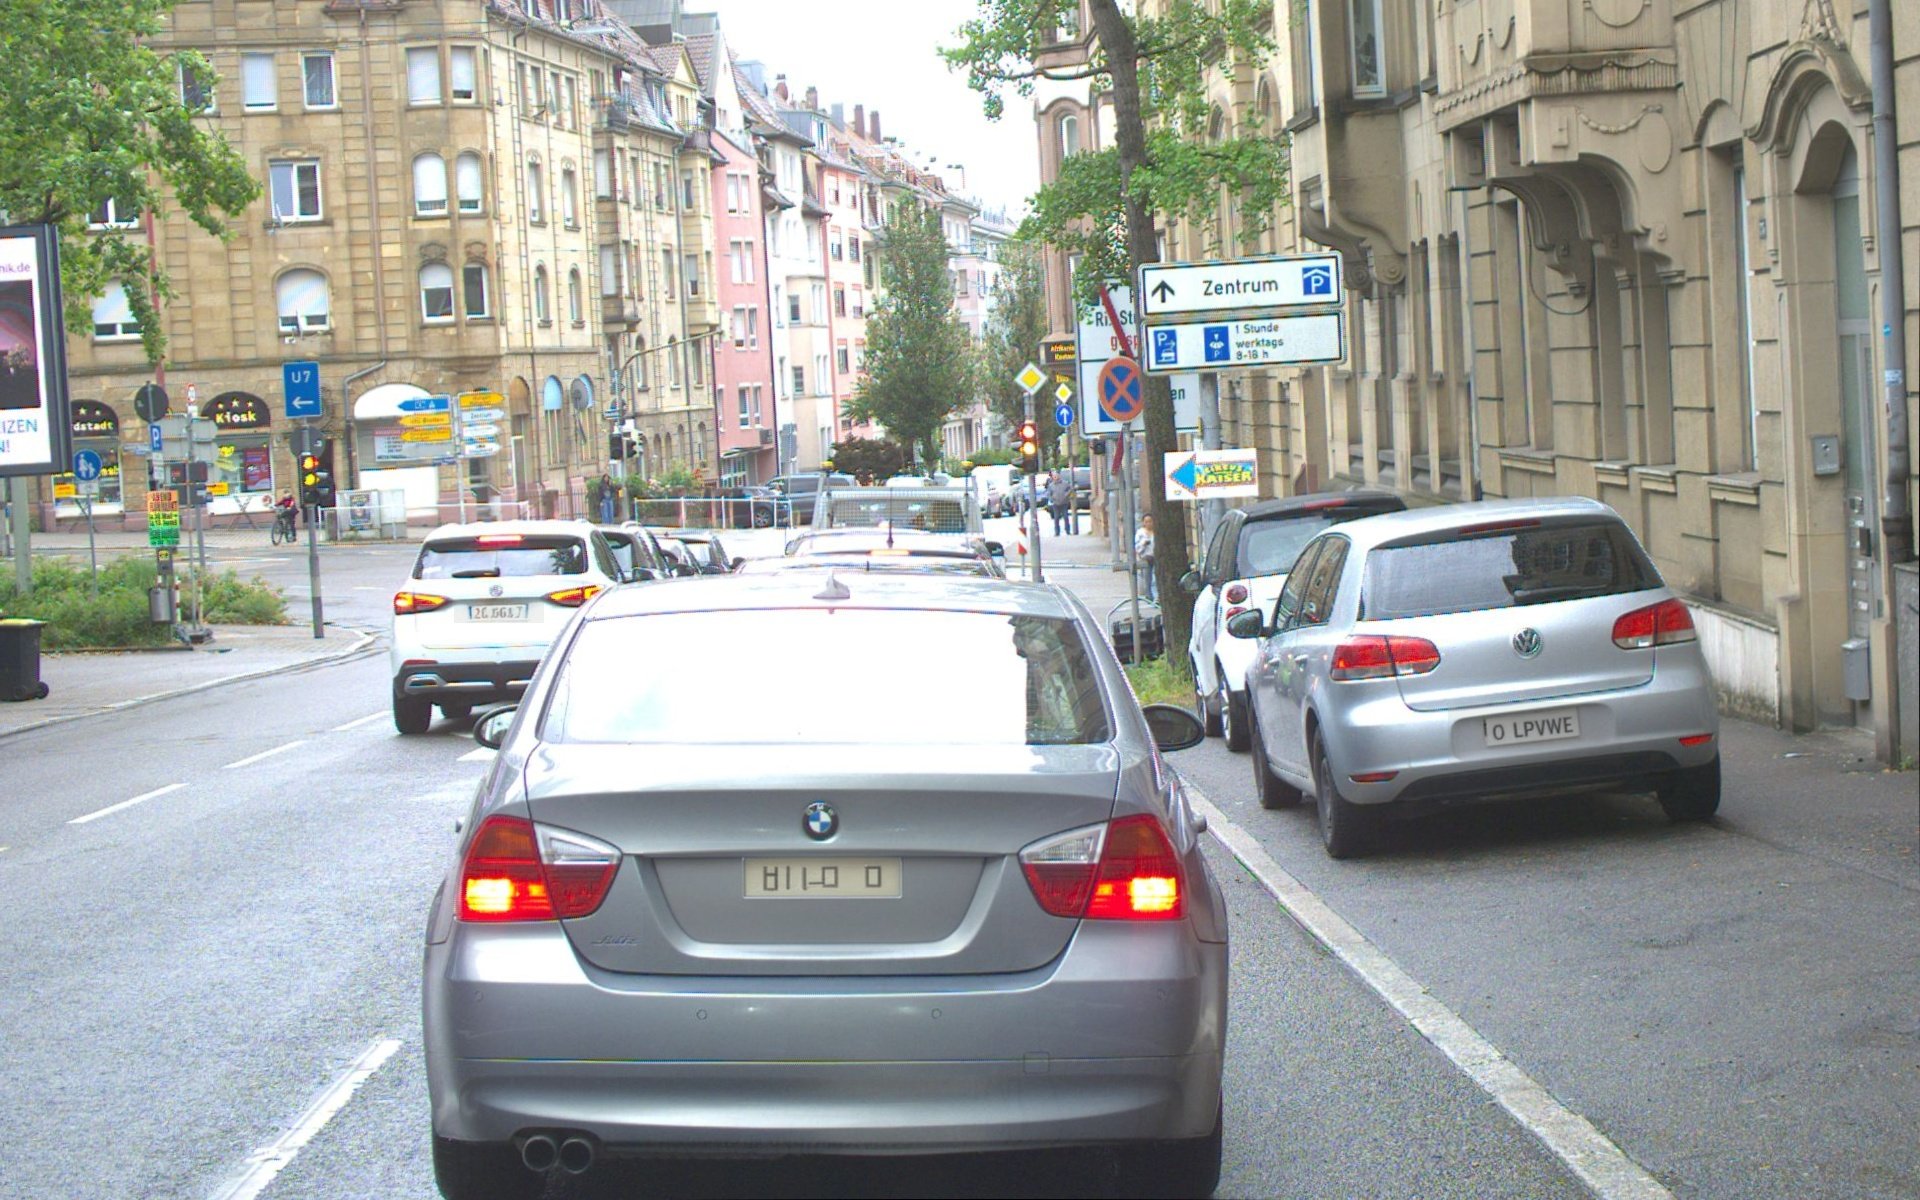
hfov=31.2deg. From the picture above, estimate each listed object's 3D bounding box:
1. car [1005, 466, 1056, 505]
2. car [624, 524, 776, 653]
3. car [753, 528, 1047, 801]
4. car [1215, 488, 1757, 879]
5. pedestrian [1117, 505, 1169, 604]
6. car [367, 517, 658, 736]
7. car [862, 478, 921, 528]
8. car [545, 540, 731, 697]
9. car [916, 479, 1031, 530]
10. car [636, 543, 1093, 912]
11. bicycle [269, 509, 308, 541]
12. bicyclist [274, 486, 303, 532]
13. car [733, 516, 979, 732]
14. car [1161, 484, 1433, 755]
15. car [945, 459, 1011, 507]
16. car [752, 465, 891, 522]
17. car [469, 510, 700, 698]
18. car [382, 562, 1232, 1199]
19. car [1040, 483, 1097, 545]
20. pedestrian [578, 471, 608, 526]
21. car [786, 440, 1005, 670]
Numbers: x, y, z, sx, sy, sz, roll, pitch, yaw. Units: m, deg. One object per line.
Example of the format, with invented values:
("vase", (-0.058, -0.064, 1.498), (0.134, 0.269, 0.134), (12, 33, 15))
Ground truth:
("car", (2.242, -3.646, 109.699), (1.434, 1.170, 3.435), (1, 1, -2))
("car", (-3.599, -0.198, 48.134), (1.759, 1.702, 4.000), (-1, 1, 1))
("car", (-0.309, 0.313, 20.831), (1.595, 1.459, 4.000), (-1, 1, 1))
("car", (2.337, 0.302, 16.294), (1.759, 1.446, 4.000), (-6, 1, -1))
("pedestrian", (2.885, -0.724, 54.300), (0.631, 1.503, 0.693), (-6, 1, -1))
("car", (-3.531, 0.154, 27.803), (1.868, 1.620, 4.000), (-1, 1, -1))
("car", (-2.090, -2.948, 104.773), (1.715, 1.445, 3.743), (-2, 1, -1))
("car", (-3.730, 0.169, 40.425), (1.759, 1.702, 4.000), (-1, 1, 1))
("car", (0.463, -3.151, 113.938), (1.997, 1.573, 3.993), (1, 1, 32))
("car", (-0.352, 0.463, 15.369), (1.759, 1.378, 4.000), (-1, 1, 1))
("bicycle", (-18.856, -2.099, 96.508), (0.573, 0.855, 1.521), (1, 1, 9))
("bicyclist", (-18.842, -2.550, 96.474), (0.569, 1.268, 0.689), (1, 0, 10))
("car", (-0.751, 0.128, 27.197), (1.759, 1.562, 4.000), (-1, 1, 1))
("car", (2.165, 0.085, 22.672), (1.299, 1.537, 2.976), (-6, 1, -1))
("car", (0.650, -4.105, 120.689), (1.994, 1.573, 3.999), (1, 1, 5))
("car", (-5.202, -4.006, 129.819), (5.176, 2.007, 2.699), (1, 1, -1))
("car", (-3.596, -0.017, 33.539), (1.759, 1.702, 4.000), (-1, 1, 1))
("car", (-0.276, 0.634, 8.440), (1.623, 1.378, 3.615), (-1, 1, 1))
("car", (3.744, -2.987, 118.977), (1.686, 2.006, 4.000), (-3, 2, -1))
("pedestrian", (-10.810, -2.990, 101.304), (0.732, 1.572, 0.528), (-2, 1, 8))
("car", (-0.611, -0.444, 33.467), (1.993, 2.099, 4.000), (0, 1, -1))
